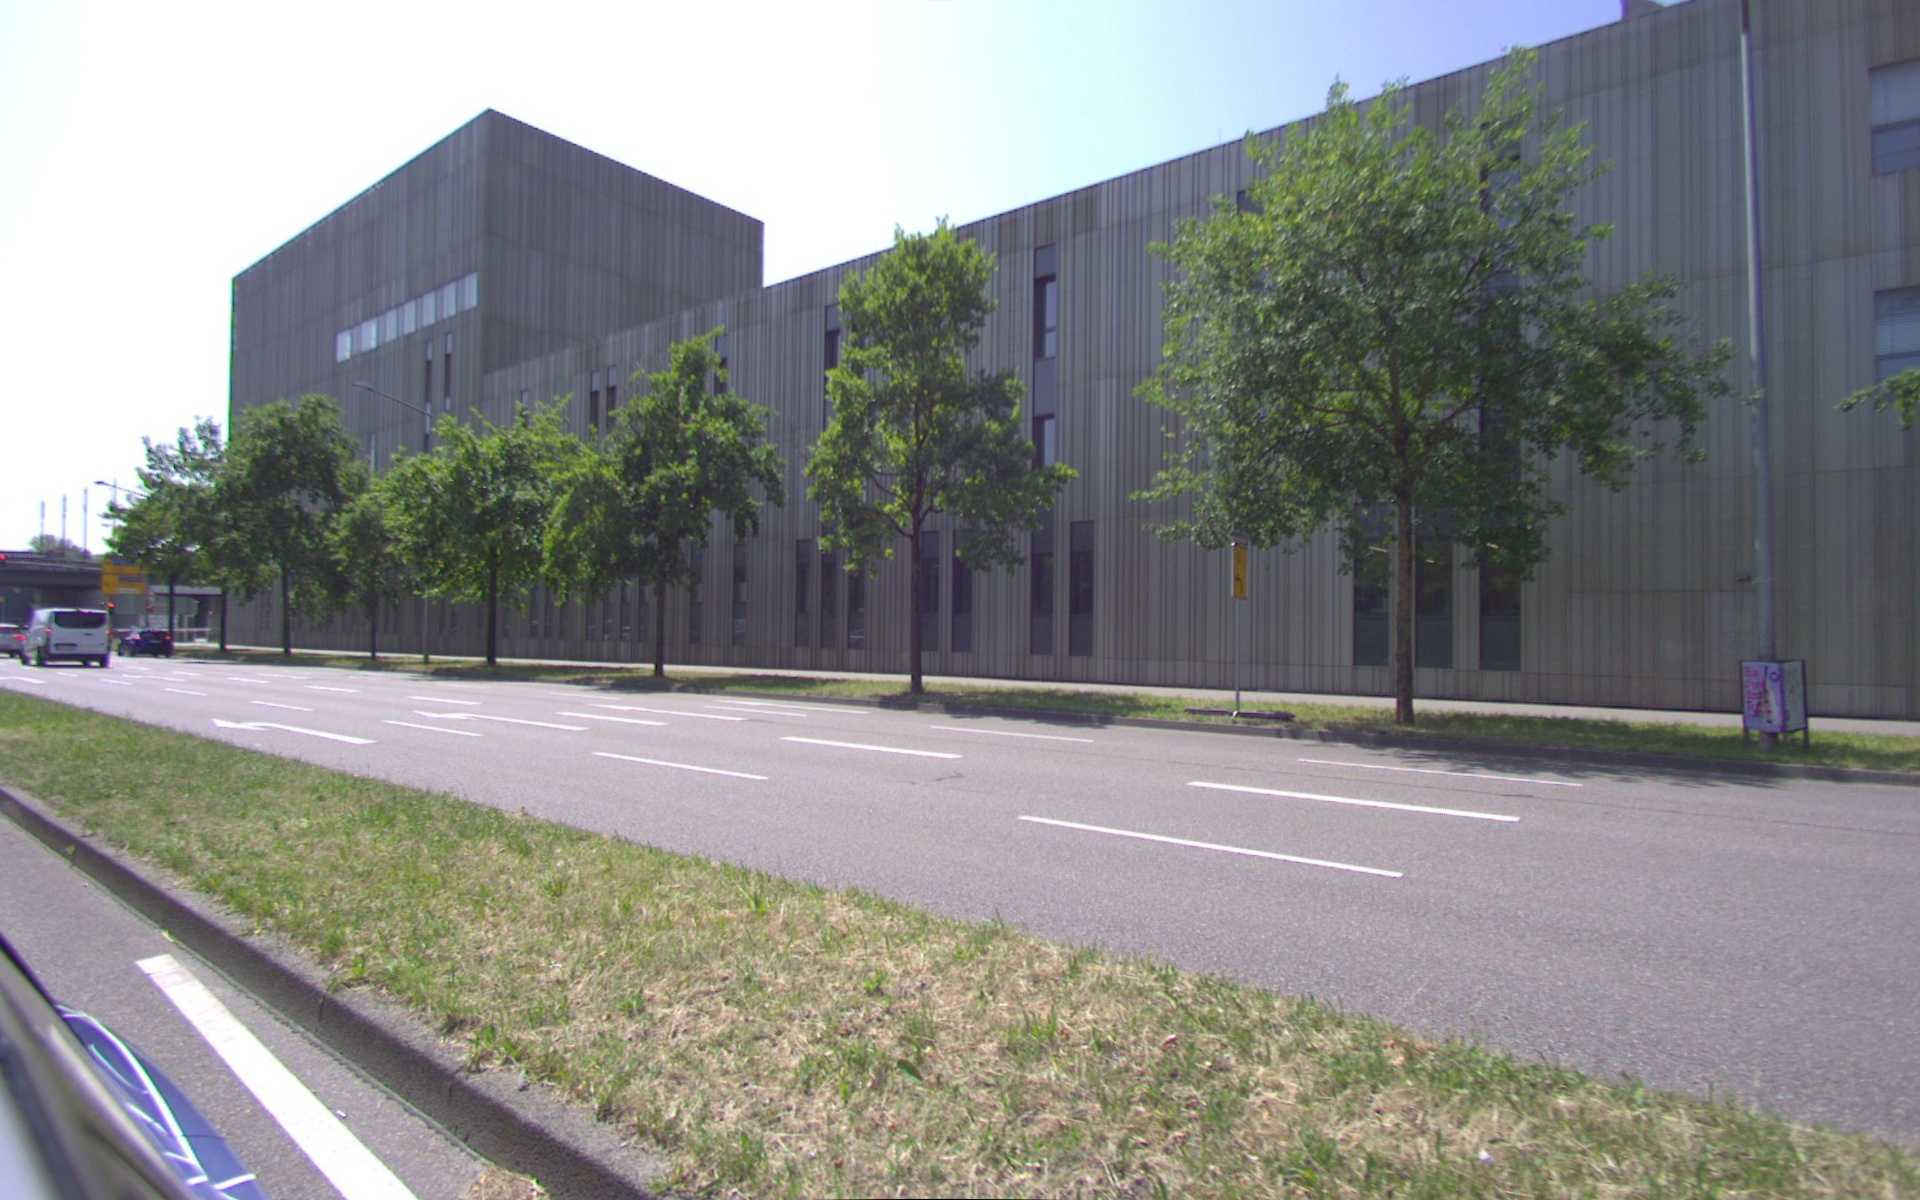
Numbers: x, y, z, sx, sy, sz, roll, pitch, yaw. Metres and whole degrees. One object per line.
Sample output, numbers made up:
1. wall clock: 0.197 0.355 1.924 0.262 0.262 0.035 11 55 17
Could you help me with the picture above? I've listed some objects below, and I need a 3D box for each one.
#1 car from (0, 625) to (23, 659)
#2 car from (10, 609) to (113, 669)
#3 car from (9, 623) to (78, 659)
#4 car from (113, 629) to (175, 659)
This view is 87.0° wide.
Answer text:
1. car: -42.878 1.817 44.601 4.141 1.471 1.748 -1 -3 39
2. car: -32.066 1.372 36.093 4.892 2.008 1.890 -1 -3 39
3. car: -47.557 2.121 52.508 4.639 1.760 1.793 -1 -3 38
4. car: -41.638 2.246 51.593 4.013 1.467 1.605 -1 -4 39
